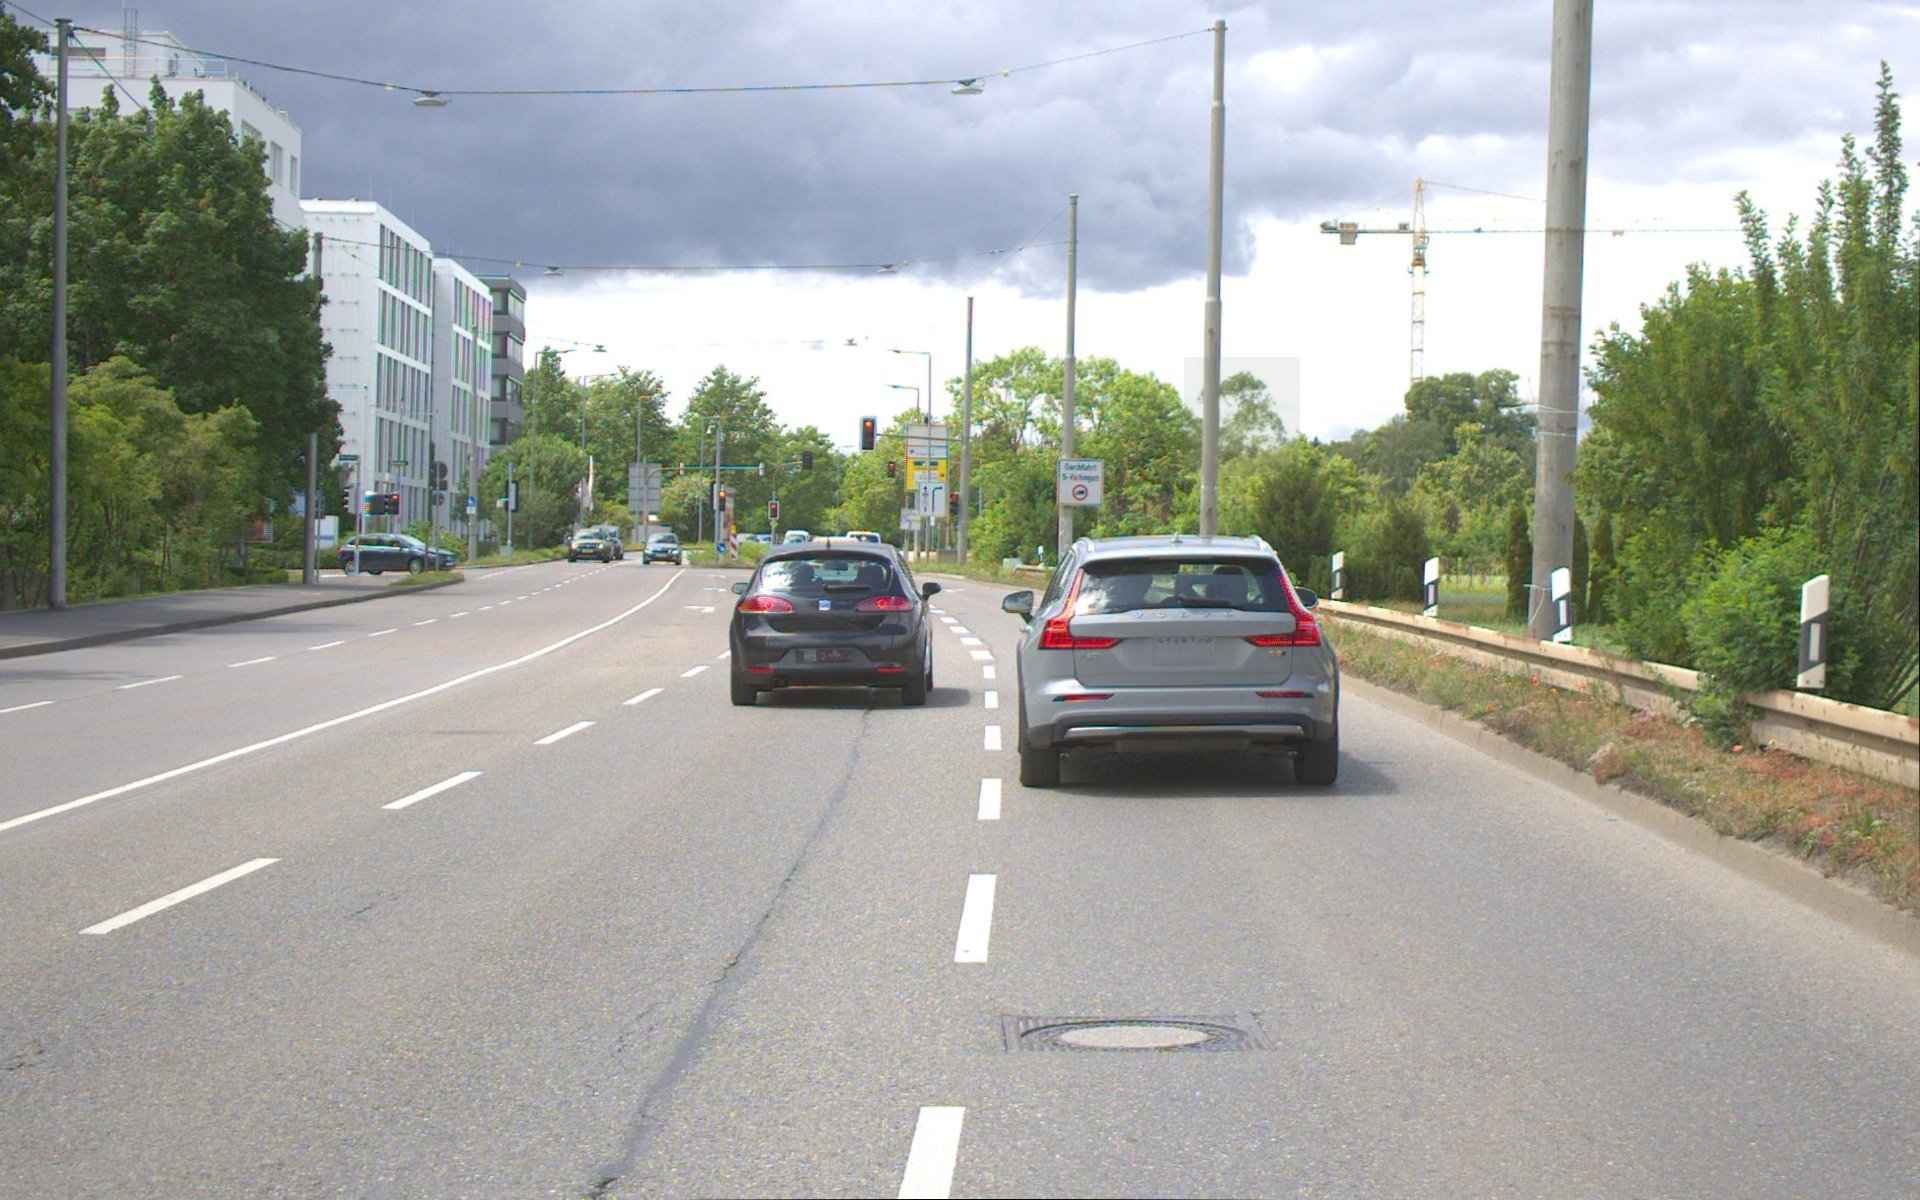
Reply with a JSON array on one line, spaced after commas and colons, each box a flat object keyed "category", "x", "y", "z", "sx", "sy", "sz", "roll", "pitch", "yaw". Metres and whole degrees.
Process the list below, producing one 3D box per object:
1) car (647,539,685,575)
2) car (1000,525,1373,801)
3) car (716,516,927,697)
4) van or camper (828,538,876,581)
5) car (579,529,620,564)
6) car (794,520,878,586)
[{"category": "car", "x": -13.491, "y": -1.983, "z": 158.035, "sx": 1.668, "sy": 1.519, "sz": 4.009, "roll": -1, "pitch": 2, "yaw": -4}, {"category": "car", "x": 1.283, "y": 0.326, "z": 21.246, "sx": 1.958, "sy": 1.520, "sz": 4.340, "roll": 0, "pitch": 1, "yaw": -1}, {"category": "car", "x": -1.209, "y": 0.039, "z": 31.392, "sx": 1.748, "sy": 1.478, "sz": 4.000, "roll": 2, "pitch": 1, "yaw": -1}, {"category": "van or camper", "x": -5.341, "y": -1.976, "z": 169.704, "sx": 1.899, "sy": 1.919, "sz": 4.001, "roll": 4, "pitch": -1, "yaw": -7}, {"category": "car", "x": -16.734, "y": -2.493, "z": 159.814, "sx": 1.751, "sy": 1.625, "sz": 4.001, "roll": -1, "pitch": 1, "yaw": -4}, {"category": "car", "x": -3.295, "y": -1.253, "z": 90.830, "sx": 1.983, "sy": 1.584, "sz": 4.227, "roll": 1, "pitch": 2, "yaw": -5}]
